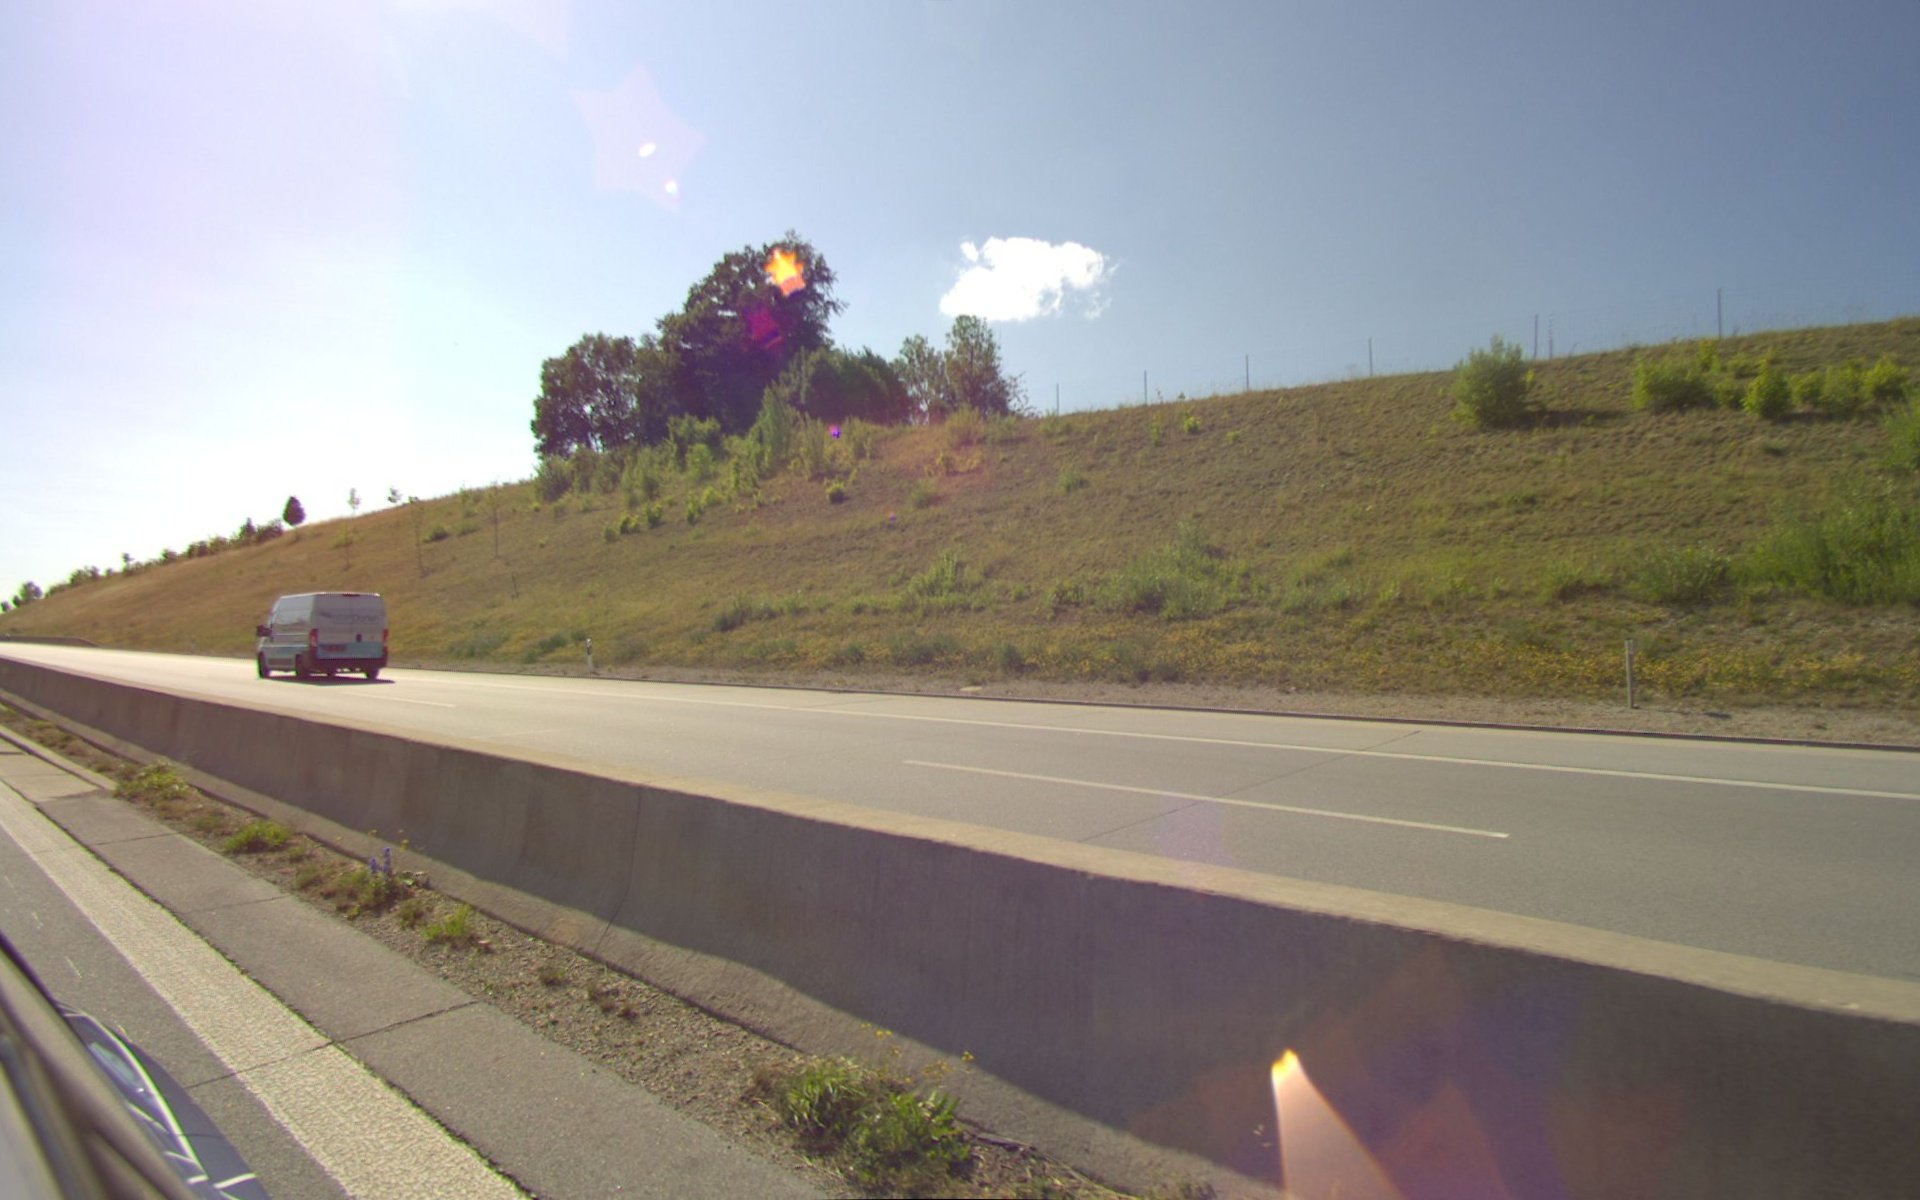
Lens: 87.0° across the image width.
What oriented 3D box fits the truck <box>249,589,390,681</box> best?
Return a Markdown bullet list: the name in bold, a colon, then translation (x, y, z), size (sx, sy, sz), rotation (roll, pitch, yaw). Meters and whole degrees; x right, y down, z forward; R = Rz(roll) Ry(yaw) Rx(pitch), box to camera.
- **truck**: translation (-18.976, 1.014, 29.871), size (5.665, 2.467, 1.973), rotation (-2, -2, 41)
